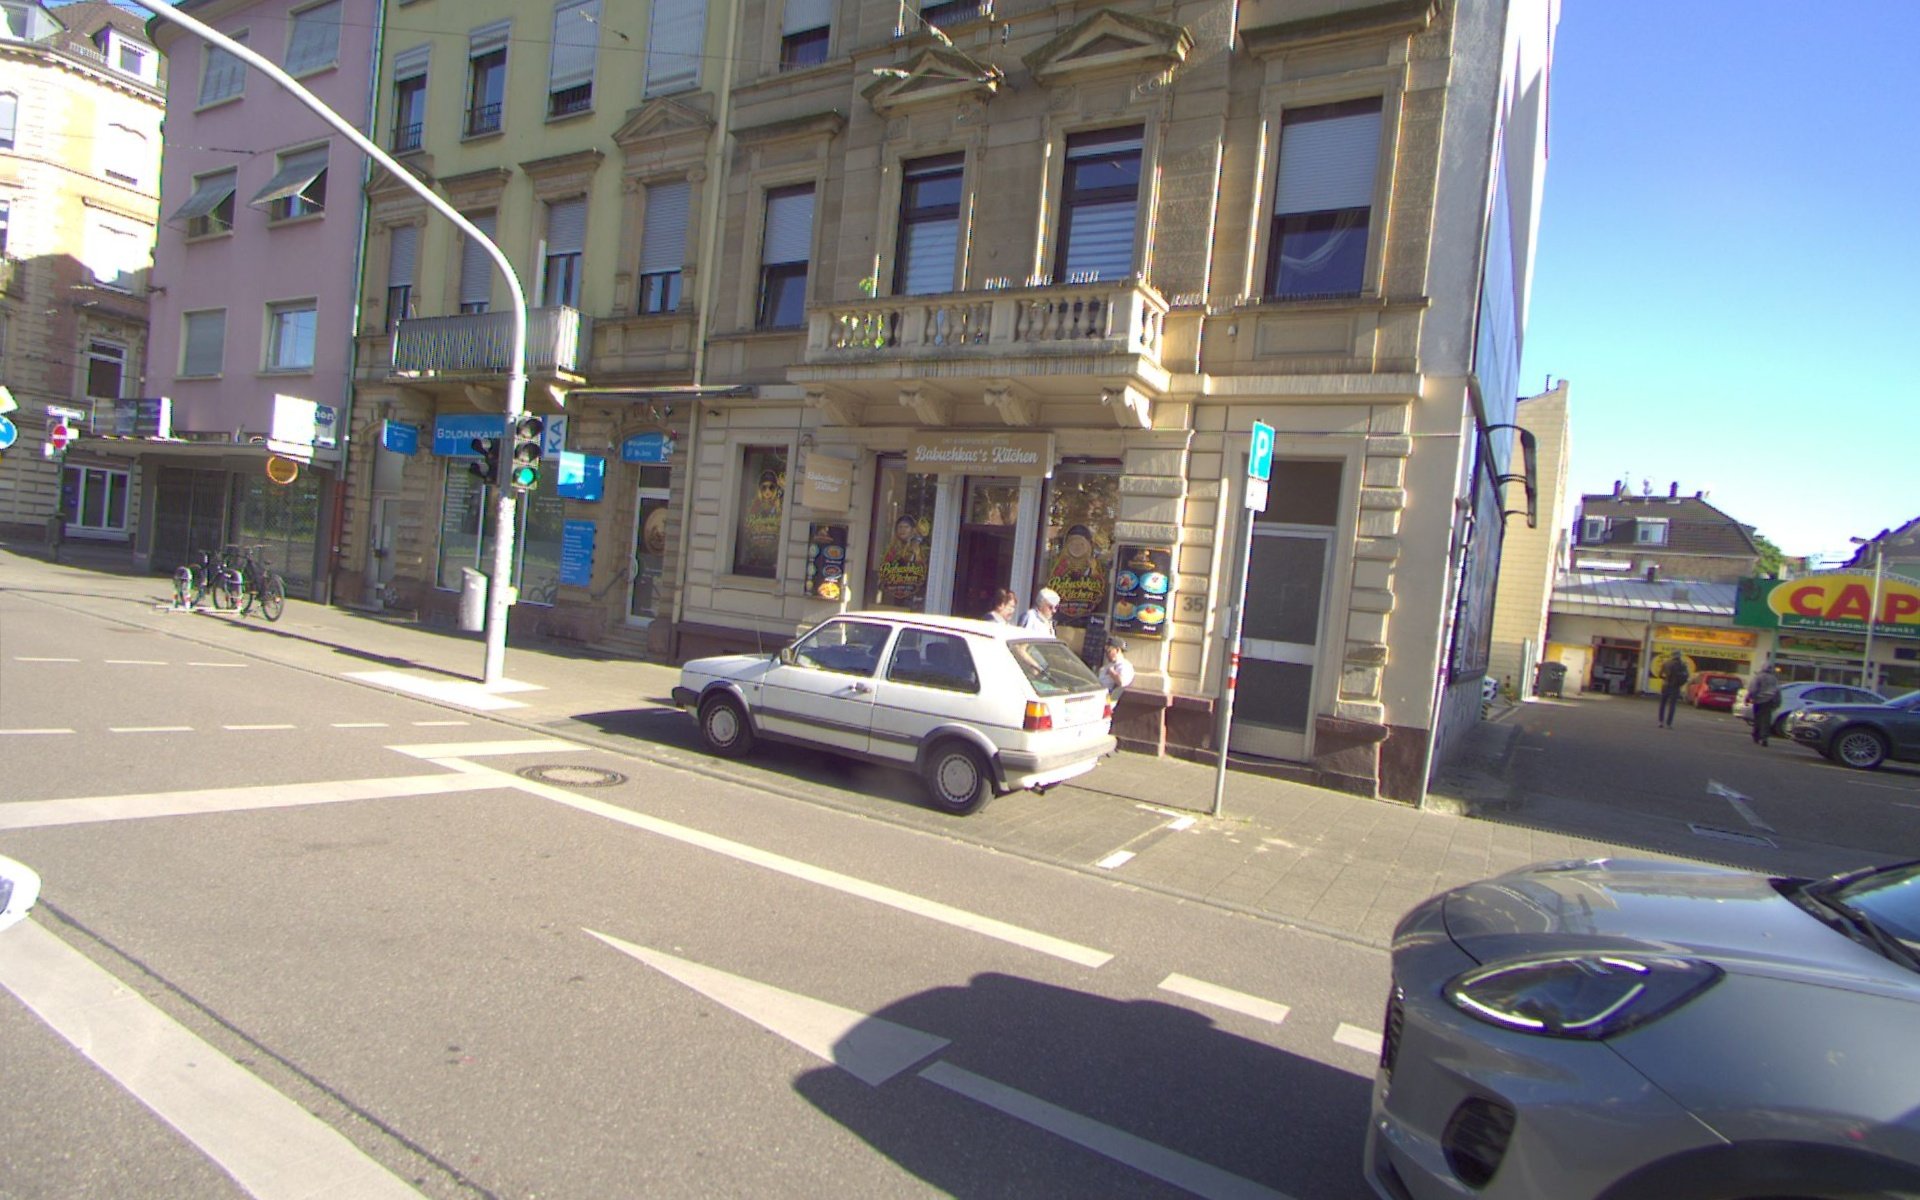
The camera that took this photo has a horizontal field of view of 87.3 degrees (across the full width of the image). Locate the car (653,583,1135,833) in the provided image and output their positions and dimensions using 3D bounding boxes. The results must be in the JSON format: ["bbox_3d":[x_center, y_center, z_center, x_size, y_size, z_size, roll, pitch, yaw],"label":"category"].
[{"bbox_3d":[-0.674,0.752,8.758,3.937,1.435,1.562,6,4,31],"label":"car"}]

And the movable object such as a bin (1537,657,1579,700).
[{"bbox_3d":[23.710,3.089,39.895,1.258,1.527,1.174,7,1,33],"label":"movable object such as a bin"}]

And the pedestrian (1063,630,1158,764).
[{"bbox_3d":[1.622,1.007,10.749,0.644,1.298,0.902,7,2,26],"label":"pedestrian"}]

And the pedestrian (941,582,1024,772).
[{"bbox_3d":[0.216,0.729,9.614,0.382,1.730,0.550,7,1,34],"label":"pedestrian"}]

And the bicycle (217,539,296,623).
[{"bbox_3d":[-11.277,-0.324,16.102,1.731,1.174,0.448,7,1,37],"label":"bicycle"}]

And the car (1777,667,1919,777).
[{"bbox_3d":[17.443,2.303,17.783,4.309,1.687,1.756,6,1,31],"label":"car"}]

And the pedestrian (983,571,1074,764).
[{"bbox_3d":[0.691,0.656,10.093,0.522,1.832,0.672,7,4,31],"label":"pedestrian"}]

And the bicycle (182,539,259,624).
[{"bbox_3d":[-11.545,-0.297,15.678,1.782,1.155,0.414,7,0,38],"label":"bicycle"}]

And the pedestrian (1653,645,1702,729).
[{"bbox_3d":[16.924,2.036,23.743,0.751,1.865,0.745,7,1,36],"label":"pedestrian"}]

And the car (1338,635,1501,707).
[{"bbox_3d":[13.077,1.982,28.670,3.933,1.482,1.756,6,0,31],"label":"car"}]

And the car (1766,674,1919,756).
[{"bbox_3d":[21.896,2.782,23.900,3.933,1.538,1.723,6,1,31],"label":"car"}]

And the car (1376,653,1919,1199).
[{"bbox_3d":[3.112,1.144,1.670,4.305,1.546,1.701,6,-1,29],"label":"car"}]

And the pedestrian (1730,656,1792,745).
[{"bbox_3d":[16.945,2.123,21.284,0.508,1.778,0.755,5,1,-36],"label":"pedestrian"}]
